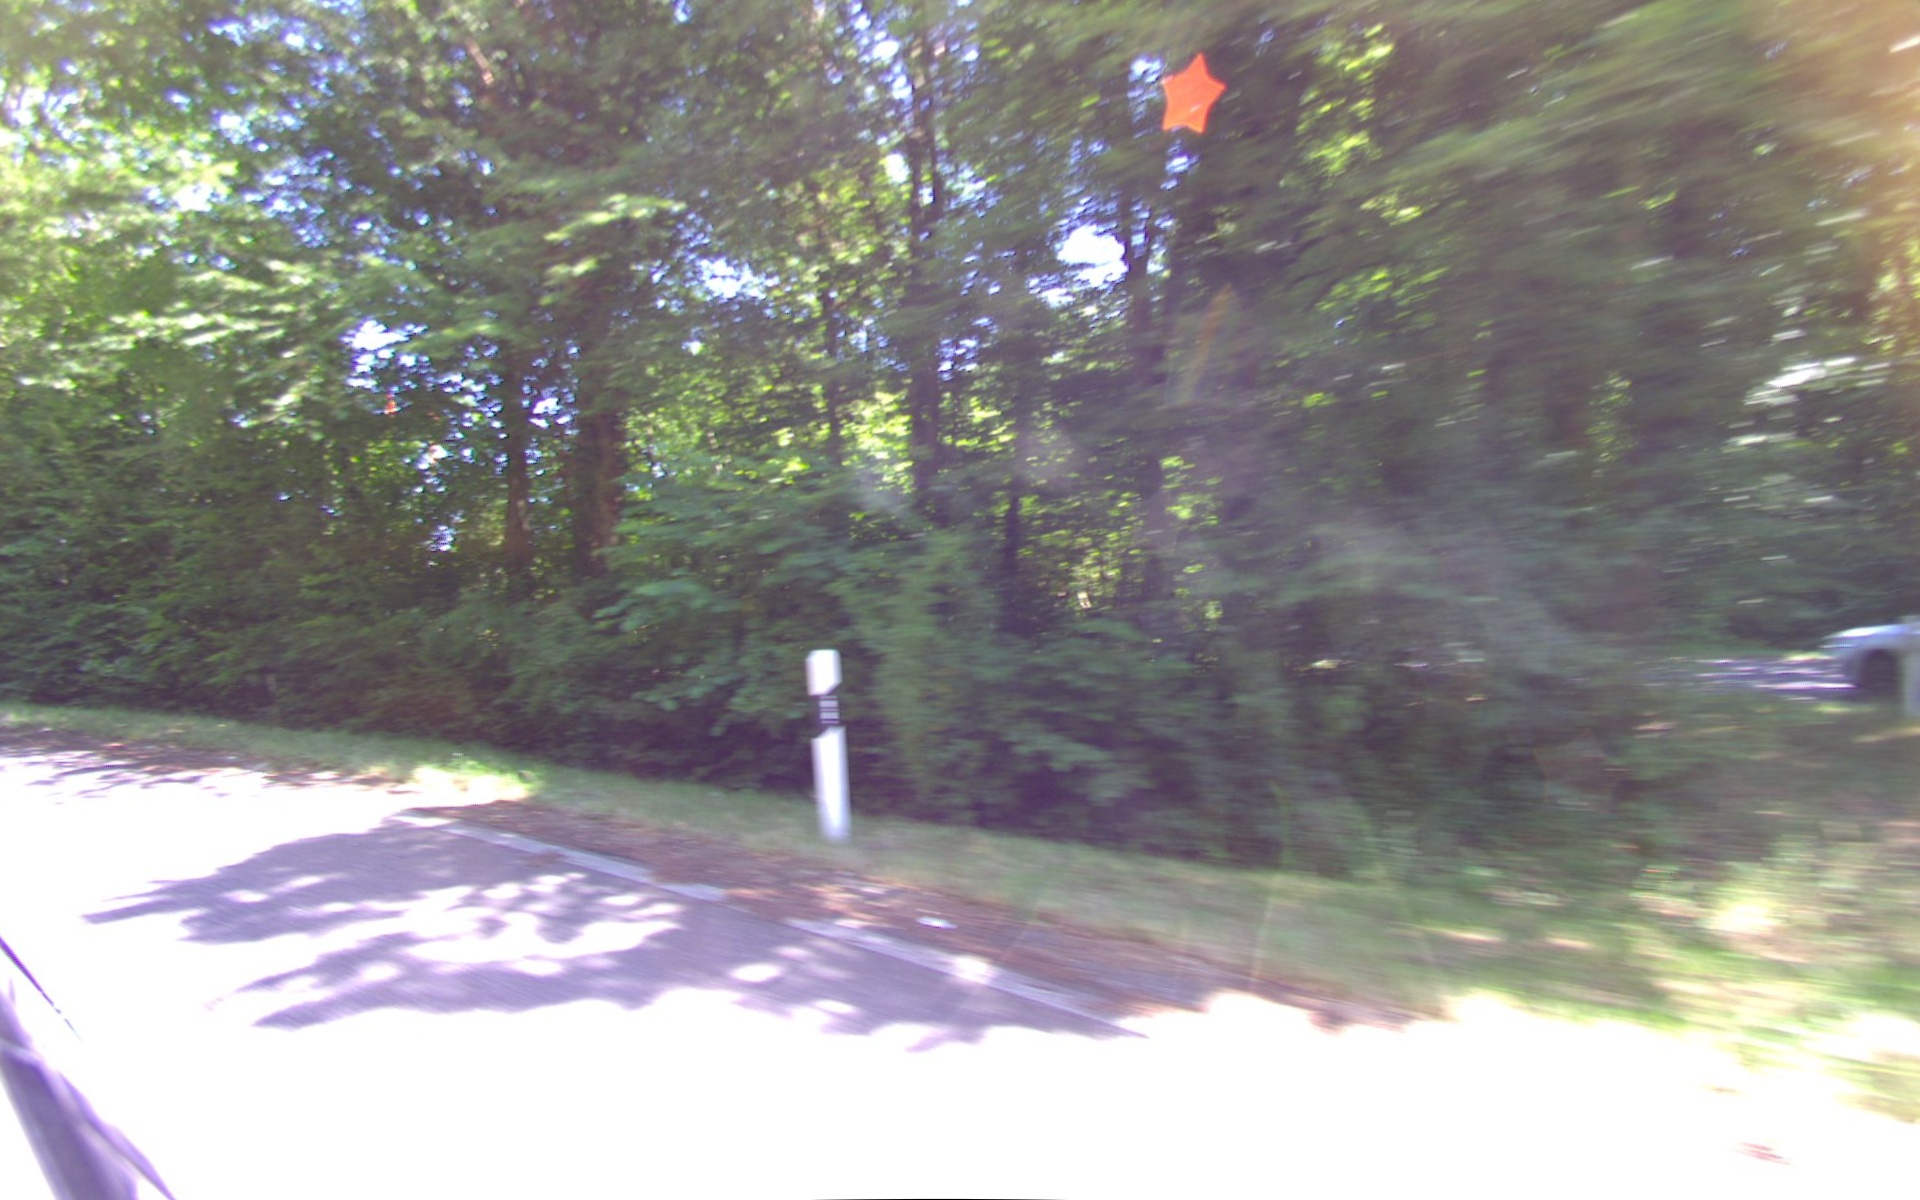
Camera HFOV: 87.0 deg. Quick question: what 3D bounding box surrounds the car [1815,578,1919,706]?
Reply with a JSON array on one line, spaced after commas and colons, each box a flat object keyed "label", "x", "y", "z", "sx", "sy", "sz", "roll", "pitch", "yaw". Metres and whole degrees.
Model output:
[{"label": "car", "x": 12.412, "y": 0.415, "z": 10.716, "sx": 1.731, "sy": 1.463, "sz": 4.885, "roll": -3, "pitch": -1, "yaw": -18}]
